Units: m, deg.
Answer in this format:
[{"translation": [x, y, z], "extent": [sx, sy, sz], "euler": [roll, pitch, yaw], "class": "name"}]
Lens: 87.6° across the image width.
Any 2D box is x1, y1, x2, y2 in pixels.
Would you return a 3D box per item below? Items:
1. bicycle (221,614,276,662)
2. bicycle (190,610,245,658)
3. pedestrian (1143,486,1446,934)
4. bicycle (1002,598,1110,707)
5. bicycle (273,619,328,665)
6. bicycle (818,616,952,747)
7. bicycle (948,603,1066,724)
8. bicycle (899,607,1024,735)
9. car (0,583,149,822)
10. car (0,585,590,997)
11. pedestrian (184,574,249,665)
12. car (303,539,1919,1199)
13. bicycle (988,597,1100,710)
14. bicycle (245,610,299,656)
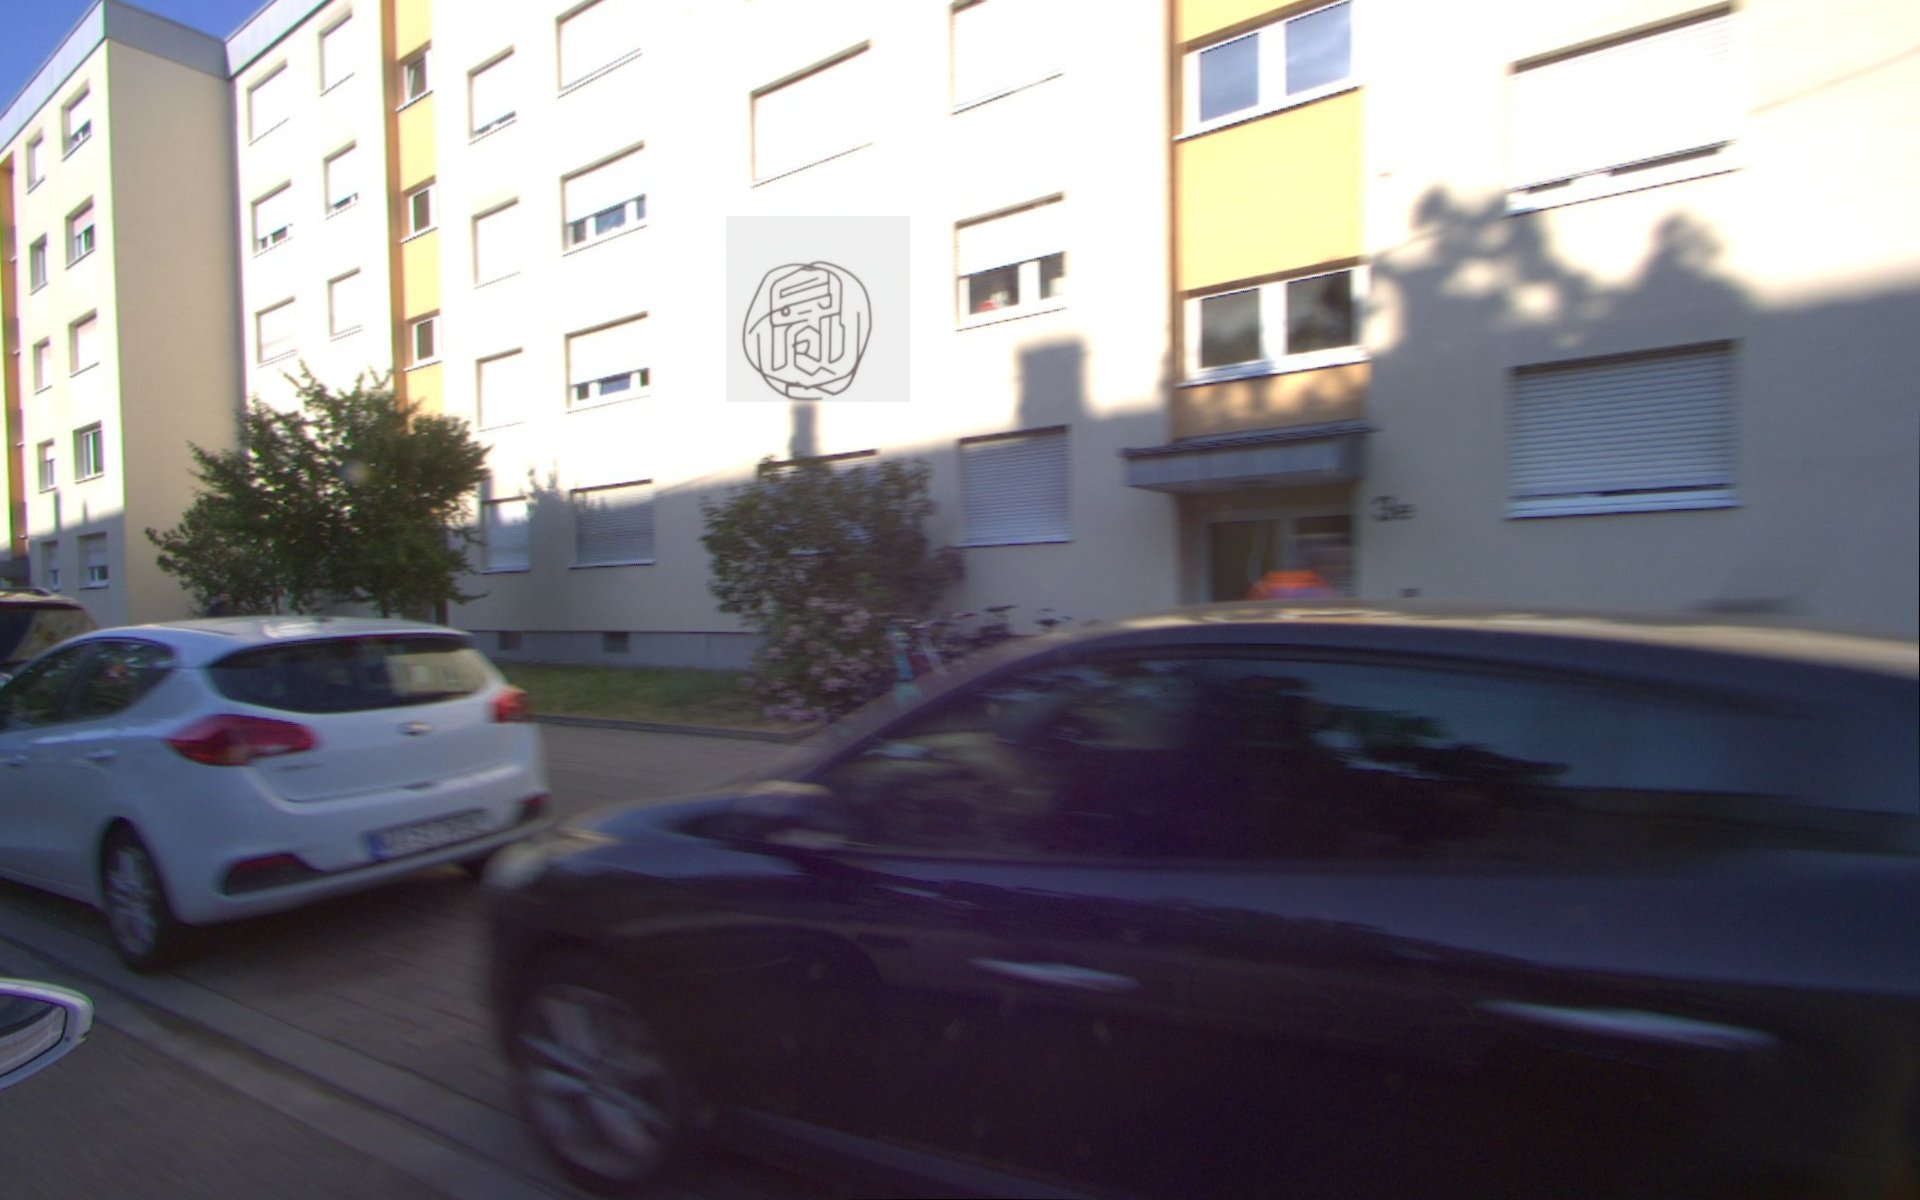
[{"translation": [-14.861, 0.785, 20.894], "extent": [1.768, 0.954, 0.436], "euler": [-1, -1, 38], "class": "bicycle"}, {"translation": [-15.195, 0.687, 20.482], "extent": [1.768, 0.954, 0.436], "euler": [-1, -1, 38], "class": "bicycle"}, {"translation": [1.675, 0.485, 4.995], "extent": [1.261, 1.915, 0.887], "euler": [-1, 0, 32], "class": "pedestrian"}, {"translation": [1.095, 0.595, 11.543], "extent": [1.223, 1.207, 0.332], "euler": [-1, 0, 32], "class": "bicycle"}, {"translation": [-14.331, 0.902, 21.744], "extent": [1.768, 0.954, 0.436], "euler": [-1, -1, 38], "class": "bicycle"}, {"translation": [-0.709, 0.758, 9.493], "extent": [1.217, 1.207, 0.334], "euler": [-1, -1, 14], "class": "bicycle"}, {"translation": [0.480, 0.650, 10.524], "extent": [1.223, 1.207, 0.332], "euler": [-1, 0, 32], "class": "bicycle"}, {"translation": [0.005, 0.681, 9.983], "extent": [1.222, 1.208, 0.332], "euler": [0, 4, 30], "class": "bicycle"}, {"translation": [-8.813, 0.774, 8.340], "extent": [4.580, 1.700, 1.767], "euler": [-1, 1, 32], "class": "car"}, {"translation": [-4.108, 0.748, 5.576], "extent": [3.943, 1.528, 1.767], "euler": [-1, 2, 32], "class": "car"}, {"translation": [-14.209, 0.364, 19.152], "extent": [0.529, 1.681, 0.763], "euler": [-1, 4, 32], "class": "pedestrian"}, {"translation": [0.447, 0.704, 2.652], "extent": [4.553, 1.527, 1.796], "euler": [-1, 1, 30], "class": "car"}, {"translation": [0.930, 0.589, 11.192], "extent": [1.223, 1.207, 0.332], "euler": [-1, 0, 32], "class": "bicycle"}, {"translation": [-14.612, 0.698, 21.259], "extent": [1.768, 0.954, 0.436], "euler": [-1, -1, 38], "class": "bicycle"}]
